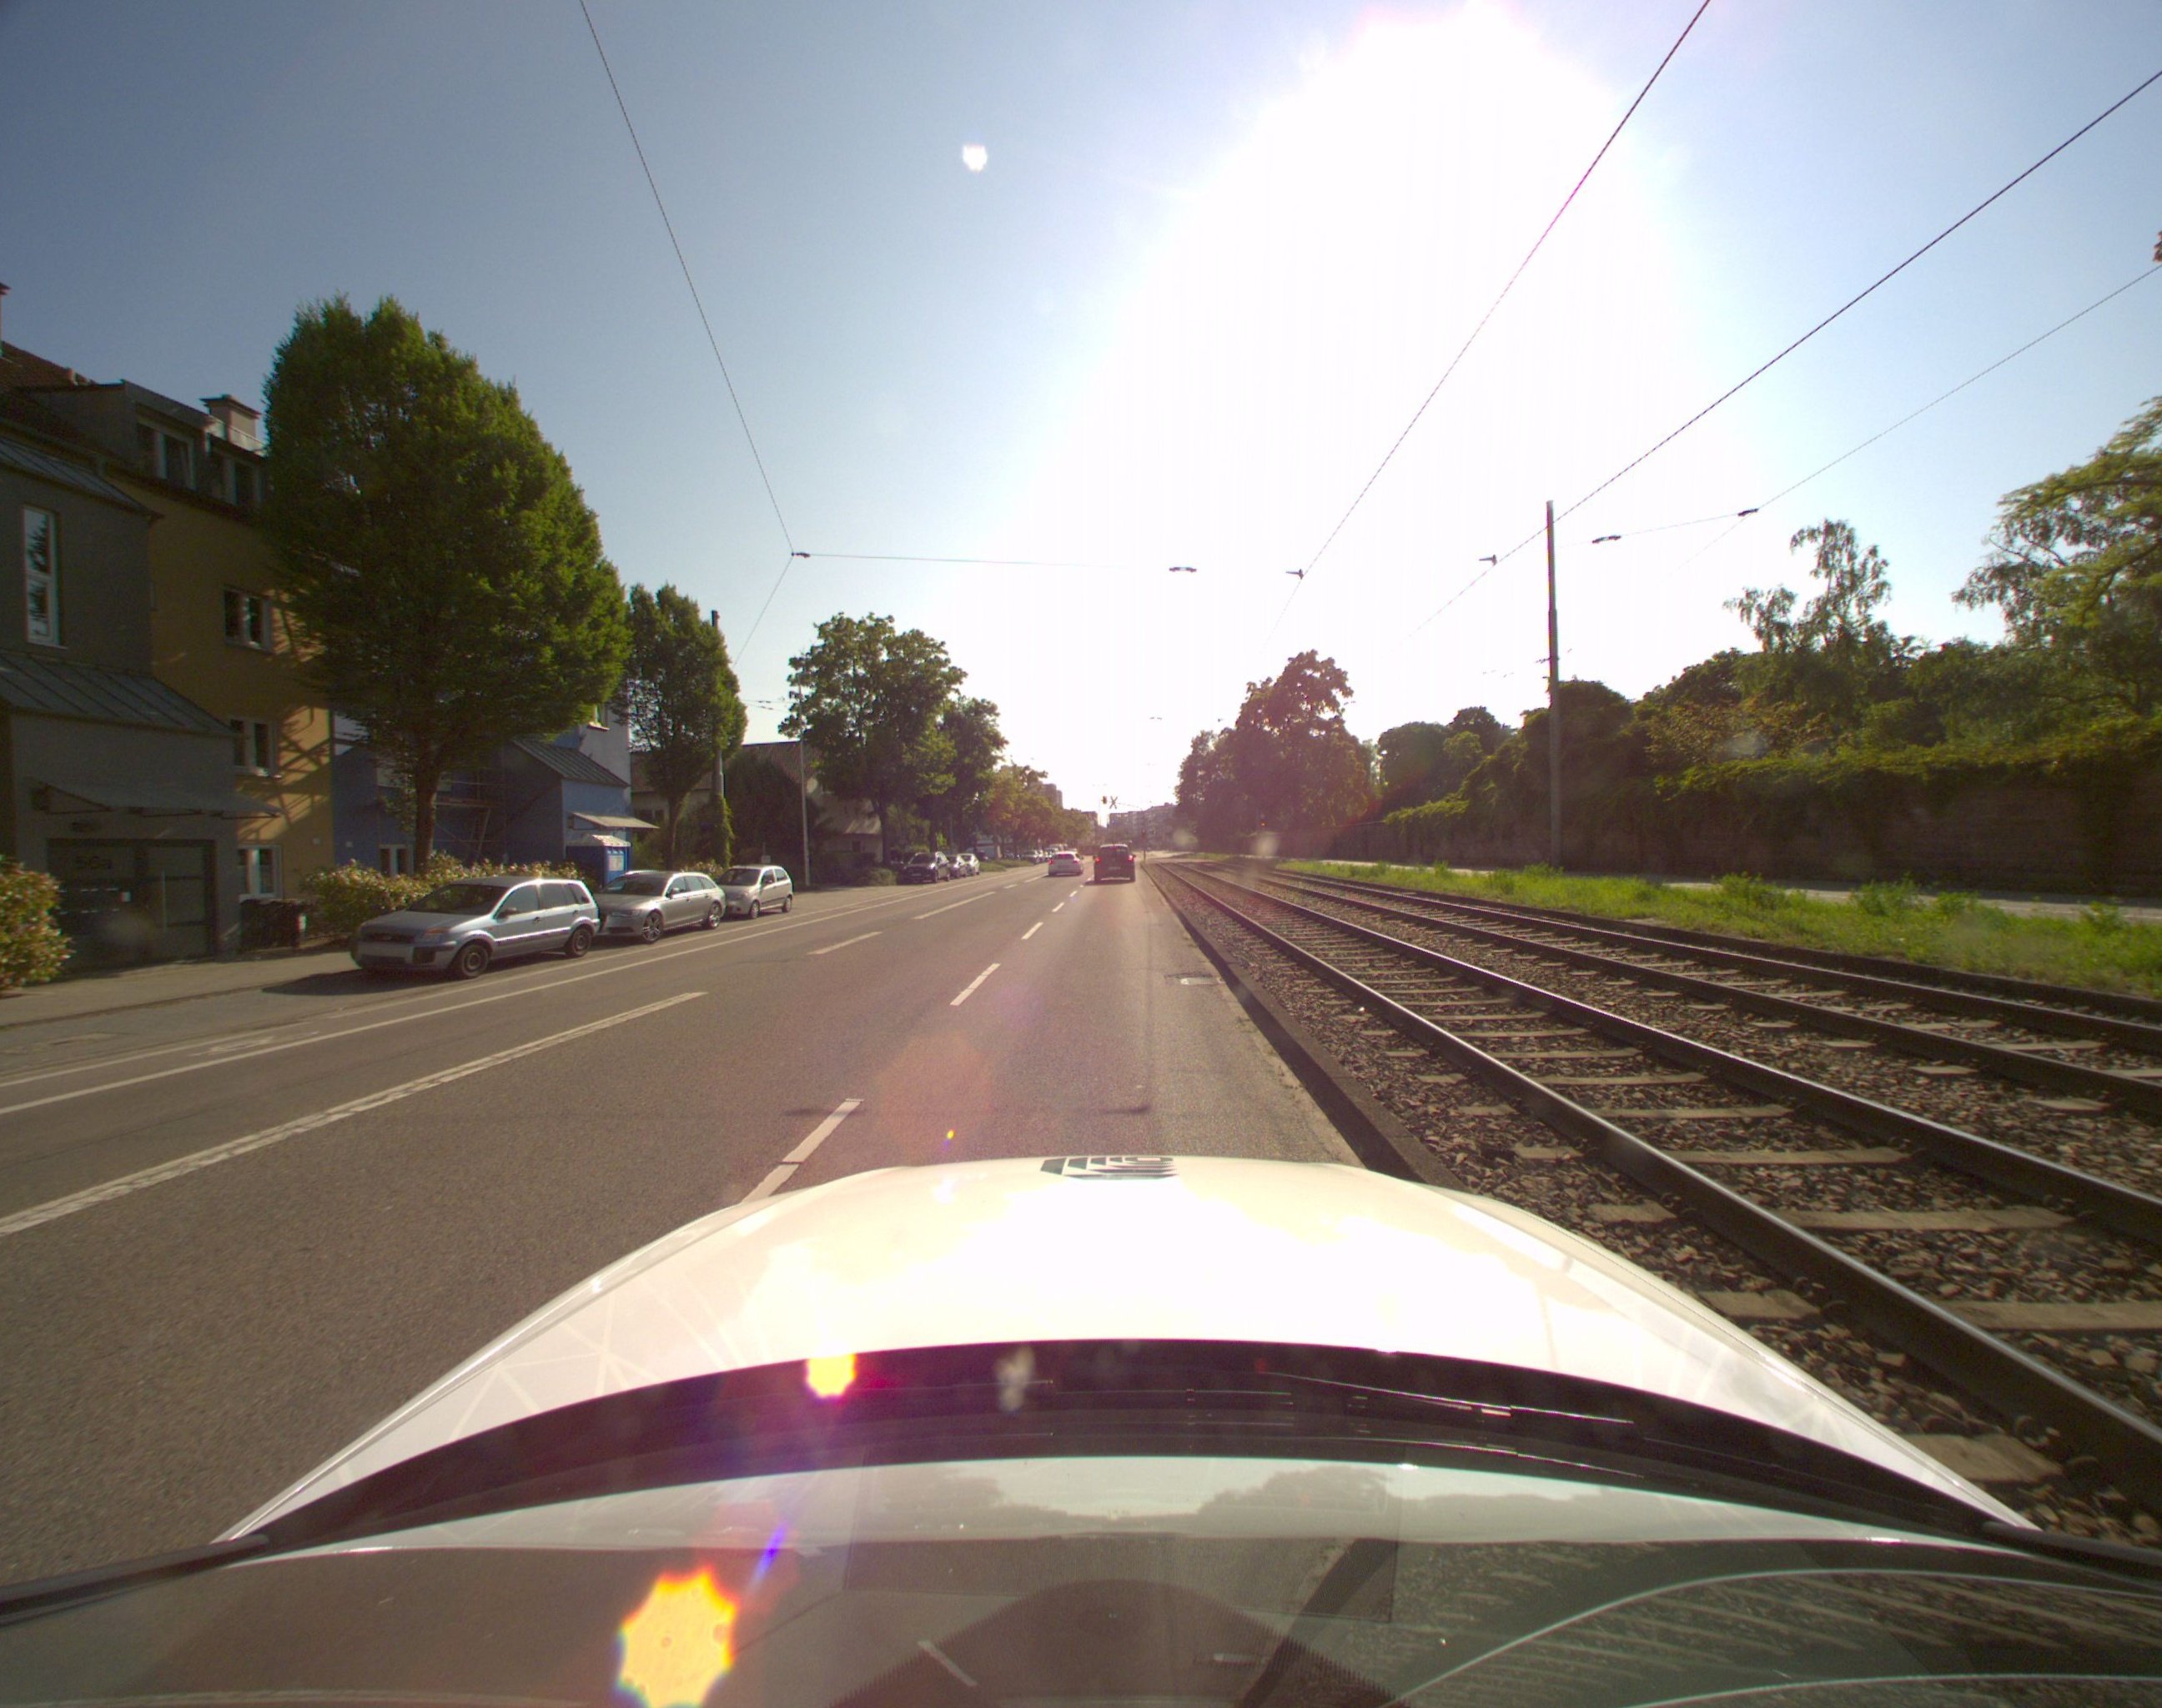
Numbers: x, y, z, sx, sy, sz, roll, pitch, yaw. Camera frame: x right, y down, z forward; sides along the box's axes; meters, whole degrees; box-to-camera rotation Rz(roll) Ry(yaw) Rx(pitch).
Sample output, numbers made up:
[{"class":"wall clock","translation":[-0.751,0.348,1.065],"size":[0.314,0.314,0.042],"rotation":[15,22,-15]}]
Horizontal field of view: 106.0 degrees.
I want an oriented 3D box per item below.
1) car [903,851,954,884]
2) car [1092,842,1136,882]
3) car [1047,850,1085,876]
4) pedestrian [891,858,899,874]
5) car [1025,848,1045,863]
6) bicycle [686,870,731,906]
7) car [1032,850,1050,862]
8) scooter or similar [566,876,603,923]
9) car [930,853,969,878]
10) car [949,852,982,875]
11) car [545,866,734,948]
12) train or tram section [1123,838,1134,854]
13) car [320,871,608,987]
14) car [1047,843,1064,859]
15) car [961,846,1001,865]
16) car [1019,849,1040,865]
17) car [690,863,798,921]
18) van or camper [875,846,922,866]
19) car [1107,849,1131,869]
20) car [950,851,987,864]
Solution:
[{"class":"car","translation":[-8.564,0.708,45.968],"size":[1.704,1.694,4.427],"rotation":[-2,0,4]},{"class":"car","translation":[1.540,0.332,36.721],"size":[1.803,1.644,4.004],"rotation":[-1,0,4]},{"class":"car","translation":[-0.821,0.497,46.753],"size":[1.857,1.348,4.004],"rotation":[-2,0,4]},{"class":"pedestrian","translation":[-14.686,0.950,64.246],"size":[0.442,1.217,0.392],"rotation":[-2,0,11]},{"class":"car","translation":[-5.645,0.212,100.247],"size":[1.723,1.694,4.006],"rotation":[-2,1,5]},{"class":"bicycle","translation":[-12.875,1.164,28.167],"size":[0.440,1.154,1.789],"rotation":[-2,0,10]},{"class":"car","translation":[-5.191,0.295,106.547],"size":[1.723,1.389,3.740],"rotation":[-2,1,5]},{"class":"scooter or similar","translation":[-12.969,1.171,21.282],"size":[0.293,1.153,1.042],"rotation":[-2,0,-1]},{"class":"car","translation":[-8.318,0.712,51.842],"size":[1.671,1.468,3.969],"rotation":[-2,0,1]},{"class":"car","translation":[-8.112,0.634,57.479],"size":[1.594,1.550,3.897],"rotation":[0,0,2]},{"class":"car","translation":[-10.077,1.121,19.110],"size":[1.743,1.510,4.756],"rotation":[2,0,1]},{"class":"train or tram section","translation":[11.277,-1.934,193.035],"size":[2.316,3.570,8.909],"rotation":[-2,0,4]},{"class":"car","translation":[-10.400,1.167,14.184],"size":[1.755,1.539,3.985],"rotation":[3,0,4]},{"class":"car","translation":[-3.840,-0.426,124.395],"size":[1.854,2.347,4.992],"rotation":[-2,0,5]},{"class":"car","translation":[-14.410,0.201,118.087],"size":[5.352,2.423,2.089],"rotation":[-2,0,3]},{"class":"car","translation":[-5.986,0.309,94.584],"size":[1.723,1.657,4.006],"rotation":[-2,0,5]},{"class":"car","translation":[-10.001,1.070,24.468],"size":[1.595,1.494,3.512],"rotation":[2,0,3]},{"class":"van or camper","translation":[-27.712,0.301,123.472],"size":[6.435,2.868,2.310],"rotation":[-2,0,4]},{"class":"car","translation":[2.929,0.340,62.055],"size":[1.804,1.449,4.004],"rotation":[-1,1,3]},{"class":"car","translation":[-15.134,0.471,110.087],"size":[4.601,1.651,2.050],"rotation":[-2,0,1]}]
